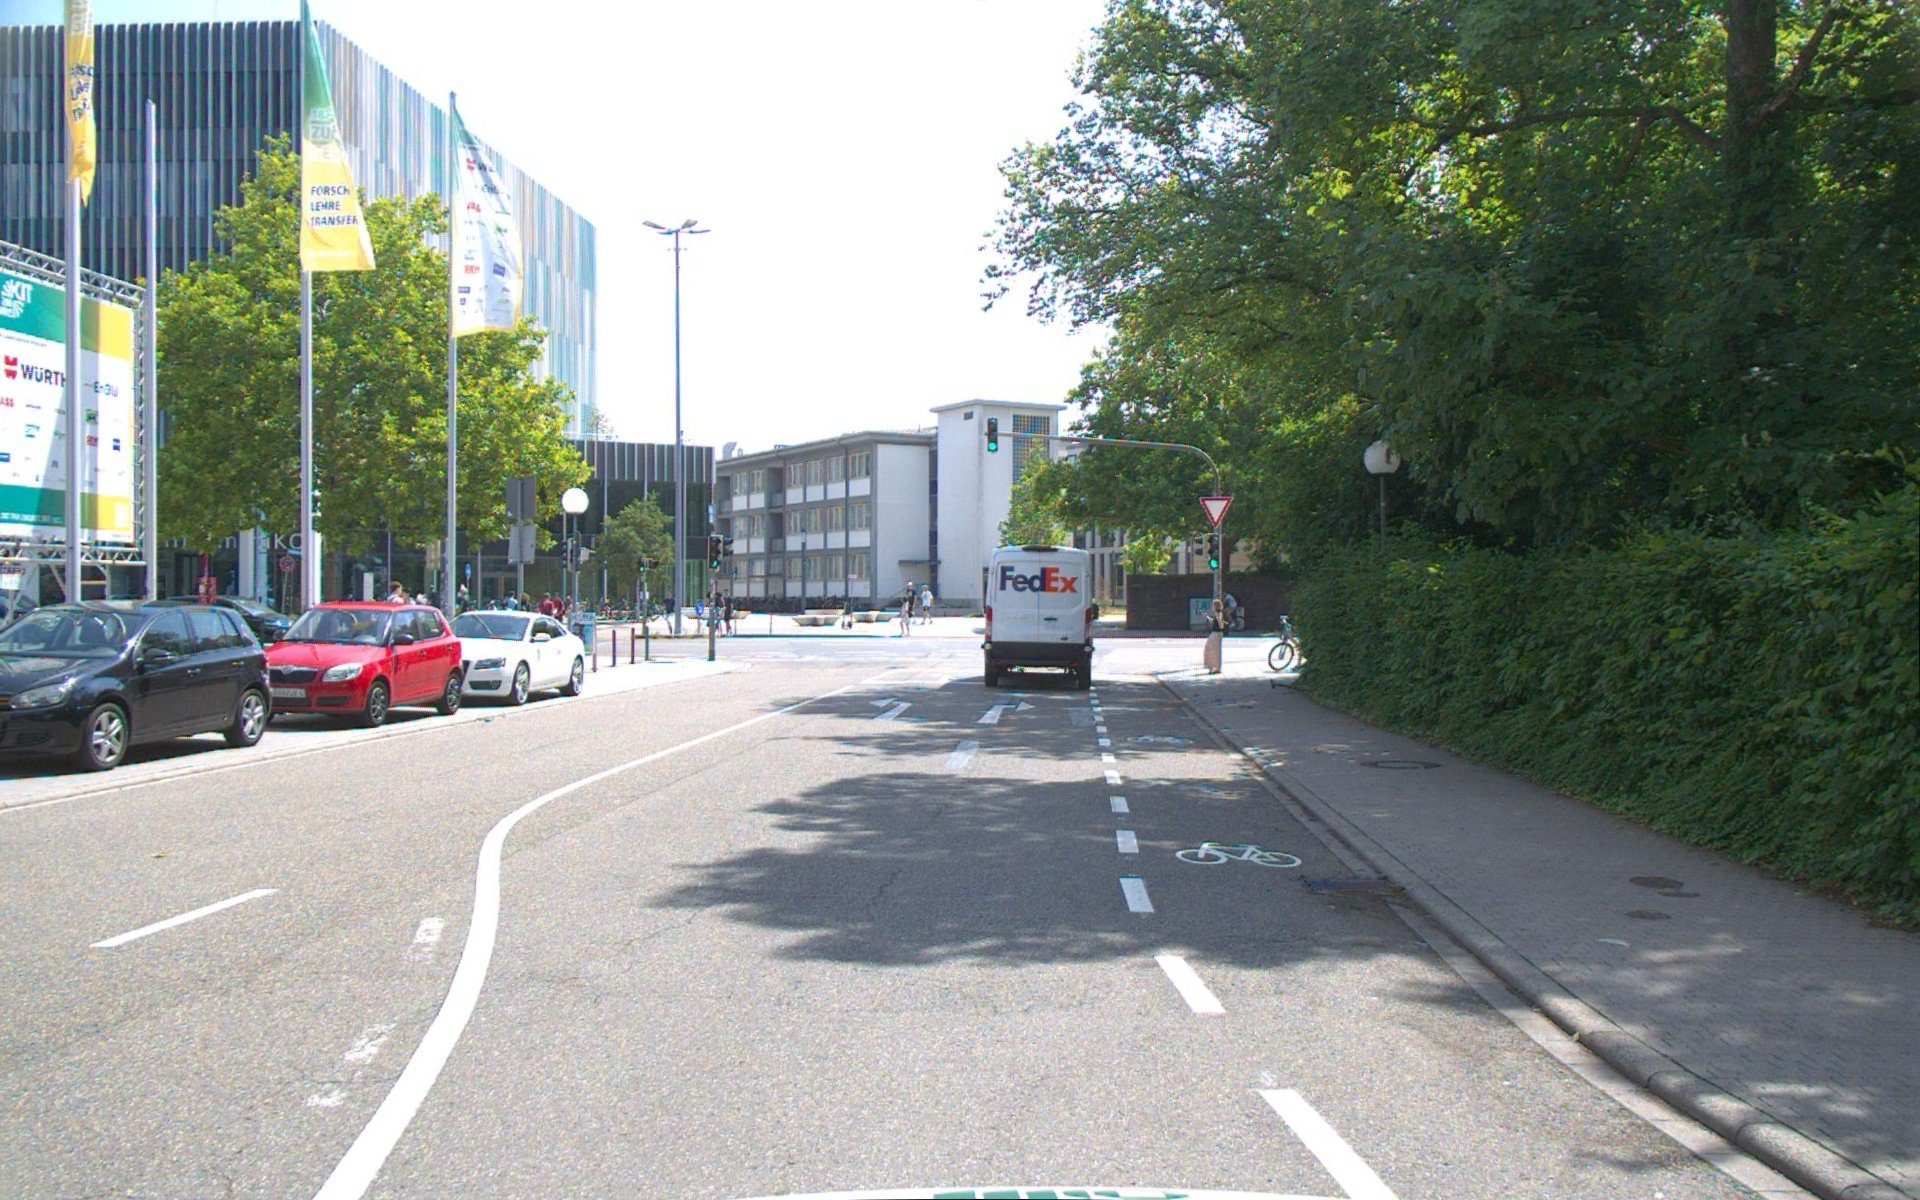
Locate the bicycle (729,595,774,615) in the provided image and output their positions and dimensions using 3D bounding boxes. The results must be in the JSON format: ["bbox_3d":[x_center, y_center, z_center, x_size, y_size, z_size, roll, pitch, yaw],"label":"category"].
[{"bbox_3d":[-14.653,0.379,116.195,2.929,1.387,1.104,1,0,-34],"label":"bicycle"}]

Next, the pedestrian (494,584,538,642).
[{"bbox_3d":[-14.307,0.408,53.301,0.844,1.850,1.095,0,0,27],"label":"pedestrian"}]

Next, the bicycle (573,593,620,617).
[{"bbox_3d":[-19.013,0.250,86.440,1.190,1.259,2.907,1,0,-41],"label":"bicycle"}]

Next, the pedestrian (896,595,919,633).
[{"bbox_3d":[-2.174,0.569,68.317,0.811,1.550,0.812,0,0,-15],"label":"pedestrian"}]

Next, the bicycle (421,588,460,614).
[{"bbox_3d":[-25.666,0.052,81.652,1.185,1.259,2.920,1,0,-31],"label":"bicycle"}]

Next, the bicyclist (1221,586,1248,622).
[{"bbox_3d":[11.713,0.164,70.565,0.832,1.494,1.067,0,0,27],"label":"bicyclist"}]

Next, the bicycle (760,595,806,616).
[{"bbox_3d":[-11.956,0.396,111.597,2.929,1.387,1.104,1,0,-34],"label":"bicycle"}]

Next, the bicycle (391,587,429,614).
[{"bbox_3d":[-26.829,0.010,80.667,1.185,1.259,2.921,1,0,-30],"label":"bicycle"}]

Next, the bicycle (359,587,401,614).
[{"bbox_3d":[-28.049,0.013,79.940,1.359,1.259,2.921,1,0,-30],"label":"bicycle"}]

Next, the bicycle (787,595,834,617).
[{"bbox_3d":[-9.772,0.390,108.167,2.929,1.387,1.104,1,0,-34],"label":"bicycle"}]

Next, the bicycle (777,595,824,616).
[{"bbox_3d":[-10.572,0.377,109.388,2.929,1.387,1.104,1,0,-34],"label":"bicycle"}]

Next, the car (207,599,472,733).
[{"bbox_3d":[-7.823,0.765,21.262,1.641,1.493,3.913,2,0,4],"label":"car"}]

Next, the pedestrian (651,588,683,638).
[{"bbox_3d":[-11.321,0.493,63.977,0.687,1.887,1.400,0,2,13],"label":"pedestrian"}]

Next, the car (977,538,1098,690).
[{"bbox_3d":[1.516,0.223,31.847,2.051,2.611,5.604,2,0,3],"label":"car"}]

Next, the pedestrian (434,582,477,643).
[{"bbox_3d":[-15.937,0.377,52.224,0.836,1.909,1.005,0,0,27],"label":"pedestrian"}]

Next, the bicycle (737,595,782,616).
[{"bbox_3d":[-13.872,0.385,114.655,2.929,1.387,1.104,1,0,-34],"label":"bicycle"}]

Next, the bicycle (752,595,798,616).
[{"bbox_3d":[-12.601,0.396,112.667,2.929,1.387,1.104,1,0,-34],"label":"bicycle"}]

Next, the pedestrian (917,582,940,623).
[{"bbox_3d":[-1.461,0.119,76.743,0.851,1.922,0.909,0,0,-15],"label":"pedestrian"}]

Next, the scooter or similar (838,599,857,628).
[{"bbox_3d":[-4.933,0.587,72.252,0.703,1.198,2.721,0,1,-7],"label":"scooter or similar"}]

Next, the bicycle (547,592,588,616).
[{"bbox_3d":[-20.395,0.198,85.932,1.186,1.259,2.917,1,0,-33],"label":"bicycle"}]

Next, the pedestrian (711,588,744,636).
[{"bbox_3d":[-9.194,0.471,65.421,0.813,1.903,1.083,0,0,27],"label":"pedestrian"}]

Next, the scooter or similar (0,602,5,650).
[{"bbox_3d":[-25.108,0.656,41.881,1.692,1.217,0.494,0,0,10],"label":"scooter or similar"}]

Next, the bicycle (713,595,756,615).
[{"bbox_3d":[-16.249,0.351,119.333,2.929,1.387,1.104,1,0,-34],"label":"bicycle"}]

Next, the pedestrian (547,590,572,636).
[{"bbox_3d":[-15.090,0.488,62.318,0.738,1.708,0.756,0,0,2],"label":"pedestrian"}]

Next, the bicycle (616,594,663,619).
[{"bbox_3d":[-17.060,0.333,88.015,1.190,1.259,2.907,1,0,-41],"label":"bicycle"}]

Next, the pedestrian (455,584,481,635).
[{"bbox_3d":[-25.486,0.505,85.680,0.966,2.610,1.000,1,-1,-39],"label":"pedestrian"}]

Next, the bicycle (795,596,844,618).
[{"bbox_3d":[-9.083,0.428,107.103,2.929,1.387,1.261,1,0,-34],"label":"bicycle"}]

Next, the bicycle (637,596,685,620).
[{"bbox_3d":[-16.050,0.434,88.764,1.190,1.259,2.907,1,0,-41],"label":"bicycle"}]

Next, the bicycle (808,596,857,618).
[{"bbox_3d":[-8.143,0.436,105.772,2.929,1.387,1.104,1,0,-34],"label":"bicycle"}]

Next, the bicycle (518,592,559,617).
[{"bbox_3d":[-21.569,0.216,84.555,1.185,1.259,2.918,1,0,-32],"label":"bicycle"}]

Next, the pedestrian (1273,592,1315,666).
[{"bbox_3d":[7.448,0.643,36.901,0.716,1.603,0.726,-2,-1,-3],"label":"pedestrian"}]

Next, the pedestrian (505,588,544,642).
[{"bbox_3d":[-13.684,0.463,52.005,0.809,1.683,0.861,0,1,24],"label":"pedestrian"}]

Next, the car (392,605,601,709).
[{"bbox_3d":[-7.243,0.833,26.336,1.641,1.419,4.665,2,0,5],"label":"car"}]

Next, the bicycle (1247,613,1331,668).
[{"bbox_3d":[7.347,0.897,36.979,1.702,1.146,0.593,-2,-1,-3],"label":"bicycle"}]

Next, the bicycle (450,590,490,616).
[{"bbox_3d":[-24.418,0.154,82.366,1.185,1.259,2.920,1,0,-31],"label":"bicycle"}]

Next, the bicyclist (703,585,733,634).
[{"bbox_3d":[-9.063,0.352,62.025,0.772,1.849,1.000,0,0,13],"label":"bicyclist"}]

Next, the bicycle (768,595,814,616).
[{"bbox_3d":[-11.274,0.373,110.495,2.929,1.387,1.104,1,0,-34],"label":"bicycle"}]

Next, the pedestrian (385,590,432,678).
[{"bbox_3d":[-12.028,0.726,36.083,0.704,1.892,0.770,0,0,5],"label":"pedestrian"}]

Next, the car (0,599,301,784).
[{"bbox_3d":[-8.256,0.763,16.006,1.711,1.493,4.199,2,0,5],"label":"car"}]

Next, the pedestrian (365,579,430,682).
[{"bbox_3d":[-10.548,0.552,31.050,0.704,1.883,1.089,1,0,7],"label":"pedestrian"}]

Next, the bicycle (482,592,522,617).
[{"bbox_3d":[-23.230,0.228,83.871,1.185,1.259,2.918,1,0,-32],"label":"bicycle"}]

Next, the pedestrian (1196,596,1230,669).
[{"bbox_3d":[5.659,0.719,36.976,0.715,1.603,0.776,1,0,11],"label":"pedestrian"}]

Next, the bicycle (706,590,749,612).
[{"bbox_3d":[-16.971,0.071,120.919,2.929,1.602,1.104,1,0,-34],"label":"bicycle"}]

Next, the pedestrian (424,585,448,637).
[{"bbox_3d":[-26.847,0.566,84.756,0.963,2.610,1.003,1,0,-32],"label":"pedestrian"}]

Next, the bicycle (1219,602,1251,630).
[{"bbox_3d":[11.745,0.661,70.622,0.831,1.165,1.993,0,0,26],"label":"bicycle"}]

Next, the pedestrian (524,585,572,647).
[{"bbox_3d":[-12.416,0.471,49.873,0.789,1.839,1.267,0,0,22],"label":"pedestrian"}]

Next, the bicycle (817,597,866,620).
[{"bbox_3d":[-7.493,0.550,104.625,2.929,1.387,1.104,1,0,-34],"label":"bicycle"}]

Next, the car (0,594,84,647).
[{"bbox_3d":[-31.290,0.657,53.853,4.708,1.690,1.654,0,0,5],"label":"car"}]

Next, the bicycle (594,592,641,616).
[{"bbox_3d":[-18.097,0.198,87.296,1.190,1.259,2.907,1,0,-41],"label":"bicycle"}]

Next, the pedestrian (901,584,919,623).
[{"bbox_3d":[-2.339,0.162,77.368,0.657,1.846,0.812,0,0,-15],"label":"pedestrian"}]

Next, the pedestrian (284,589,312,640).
[{"bbox_3d":[-34.473,0.760,86.138,0.952,2.610,1.015,1,0,4],"label":"pedestrian"}]

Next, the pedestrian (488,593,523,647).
[{"bbox_3d":[-13.701,0.595,49.867,0.754,1.626,0.799,0,0,6],"label":"pedestrian"}]

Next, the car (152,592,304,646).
[{"bbox_3d":[-23.675,0.598,53.535,4.191,1.690,1.654,0,1,5],"label":"car"}]

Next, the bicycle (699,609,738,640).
[{"bbox_3d":[-9.059,0.917,62.053,0.754,1.142,2.028,0,0,14],"label":"bicycle"}]
